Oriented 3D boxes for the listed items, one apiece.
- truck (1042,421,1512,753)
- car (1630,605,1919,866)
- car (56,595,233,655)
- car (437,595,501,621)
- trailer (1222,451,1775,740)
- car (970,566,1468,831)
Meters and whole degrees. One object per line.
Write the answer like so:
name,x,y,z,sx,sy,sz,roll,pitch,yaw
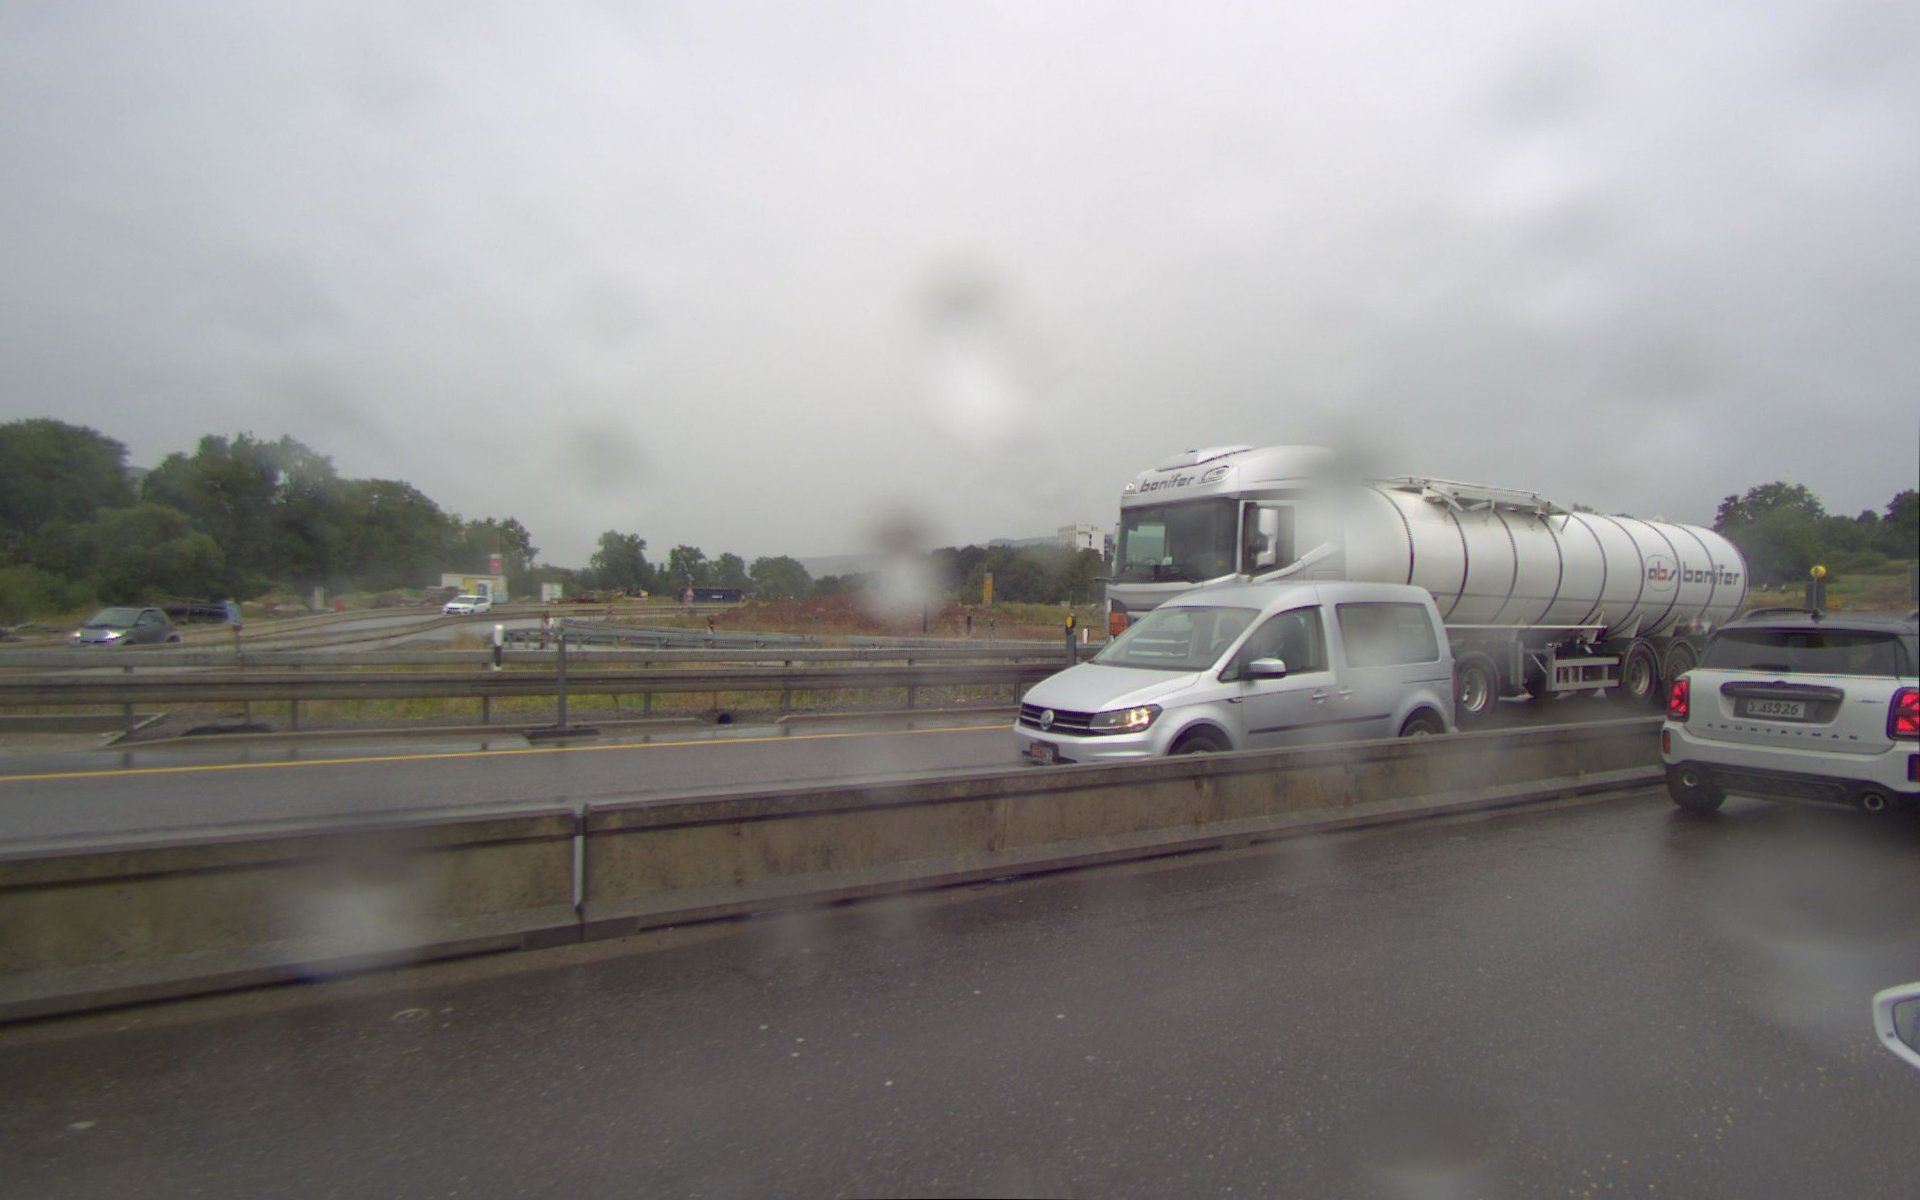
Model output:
truck,4.566,-0.073,14.069,6.519,3.726,2.607,1,-1,-31
car,7.394,0.875,7.998,4.258,1.621,1.807,1,-1,-31
car,-25.574,0.760,31.780,1.815,1.722,5.042,1,-1,-5
car,-33.817,0.584,69.372,1.814,1.722,5.047,1,-1,1
trailer,9.723,0.073,17.154,11.865,3.726,2.607,1,-1,-31
car,2.321,0.725,8.771,4.114,1.824,1.857,1,-1,-31
